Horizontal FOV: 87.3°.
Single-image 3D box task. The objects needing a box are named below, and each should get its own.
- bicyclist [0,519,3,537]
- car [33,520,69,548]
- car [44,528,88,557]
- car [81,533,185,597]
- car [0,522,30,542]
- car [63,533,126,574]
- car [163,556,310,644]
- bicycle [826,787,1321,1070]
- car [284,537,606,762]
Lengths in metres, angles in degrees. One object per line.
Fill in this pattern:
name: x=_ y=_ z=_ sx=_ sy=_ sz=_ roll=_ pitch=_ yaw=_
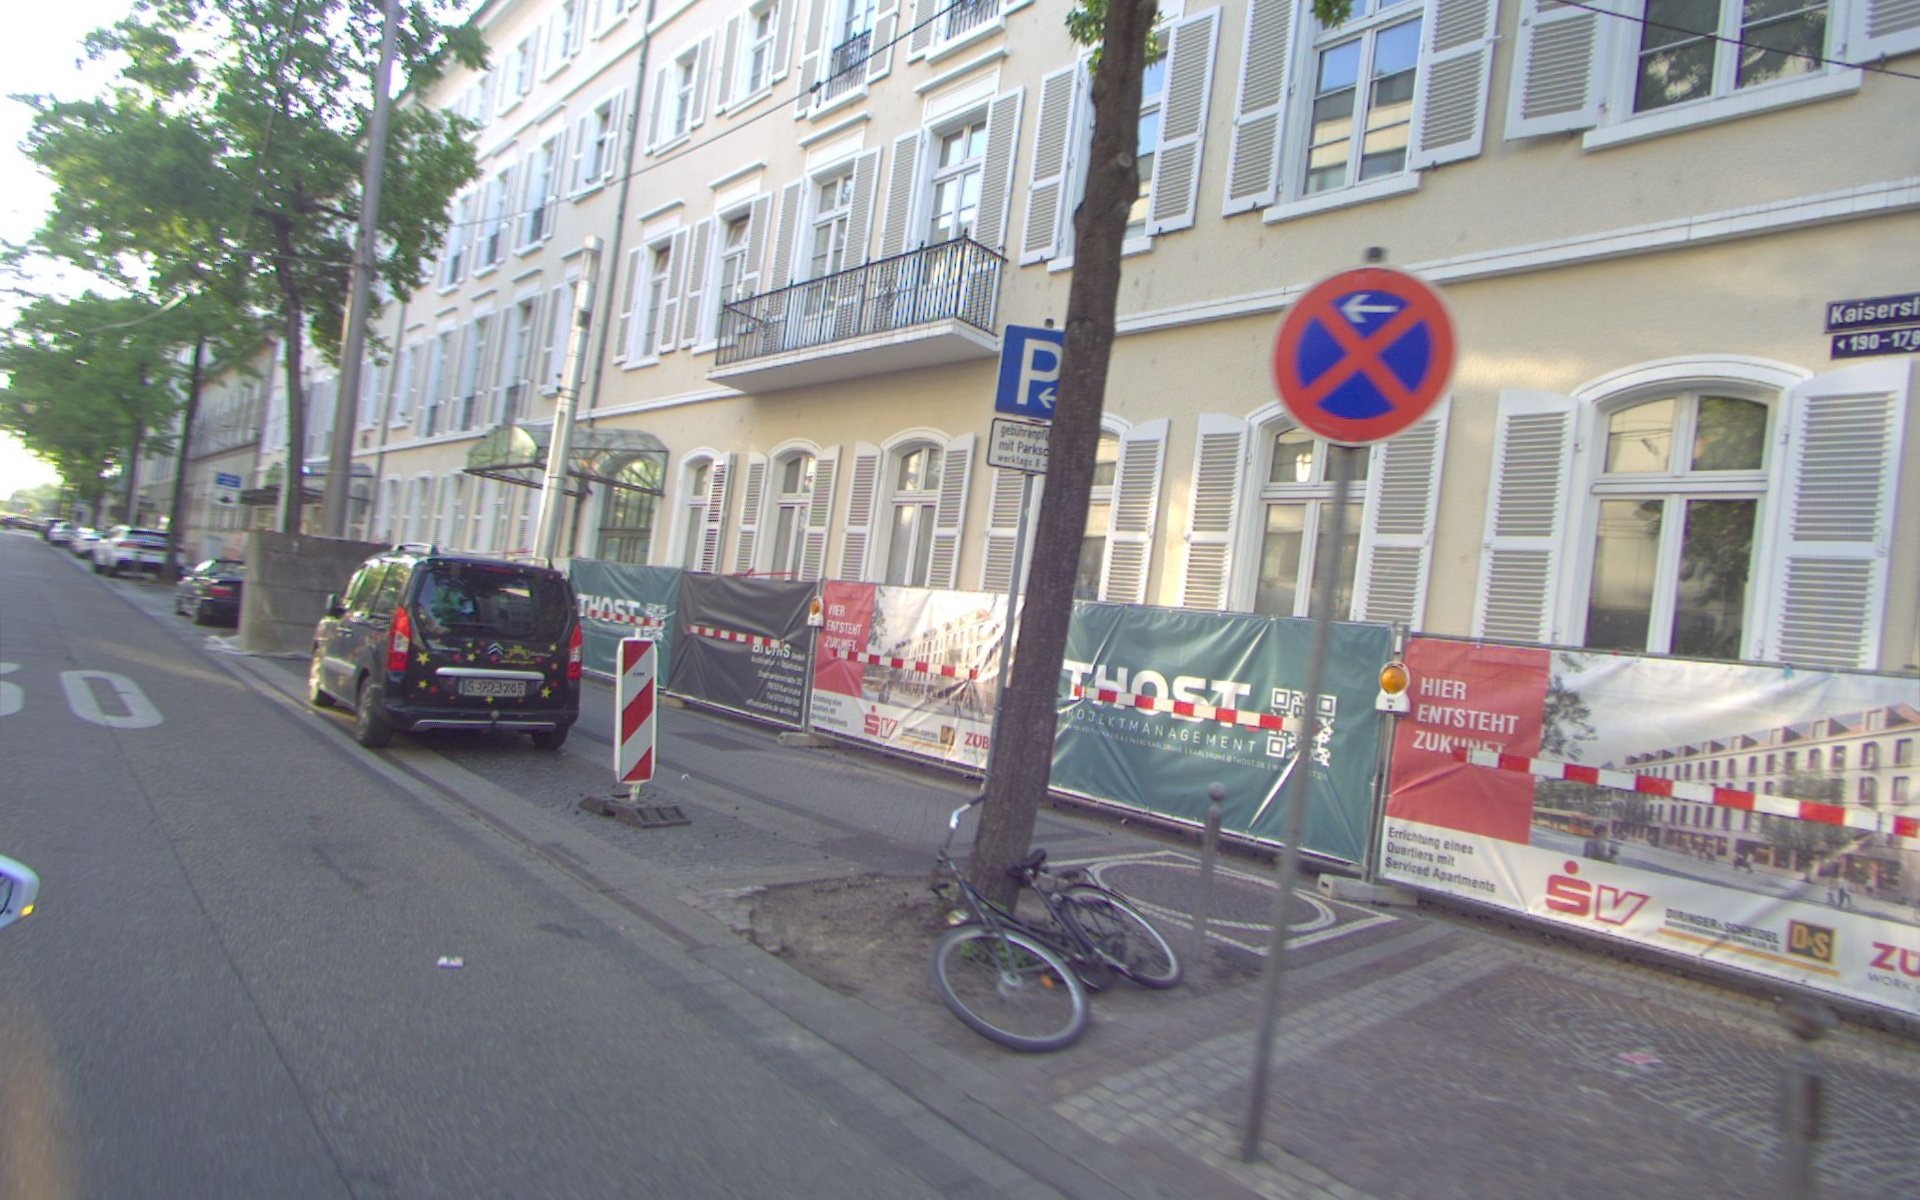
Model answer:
bicyclist: x=-80.756 y=-6.063 z=84.457 sx=0.427 sy=1.498 sz=0.460 roll=9 pitch=-2 yaw=-43
car: x=-70.089 y=-5.099 z=77.555 sx=1.931 sy=1.781 sz=4.622 roll=5 pitch=0 yaw=-43
car: x=-57.600 y=-3.708 z=64.807 sx=1.986 sy=1.517 sz=4.624 roll=6 pitch=0 yaw=-43
car: x=-27.591 y=-1.203 z=33.509 sx=4.903 sy=1.708 sz=1.994 roll=5 pitch=-2 yaw=44
car: x=-99.653 y=-7.231 z=104.159 sx=4.661 sy=1.703 sz=1.977 roll=10 pitch=-3 yaw=-42
car: x=-39.332 y=-2.133 z=45.665 sx=1.906 sy=1.438 sz=4.829 roll=7 pitch=-1 yaw=-43
car: x=-14.633 y=-0.046 z=20.245 sx=1.789 sy=1.327 sz=4.277 roll=8 pitch=-2 yaw=-43
bicycle: x=0.467 y=1.452 z=4.808 sx=1.736 sy=0.757 sz=1.555 roll=8 pitch=-2 yaw=-26
car: x=-5.531 y=0.406 z=10.498 sx=1.944 sy=1.814 sz=4.268 roll=7 pitch=-1 yaw=-40
